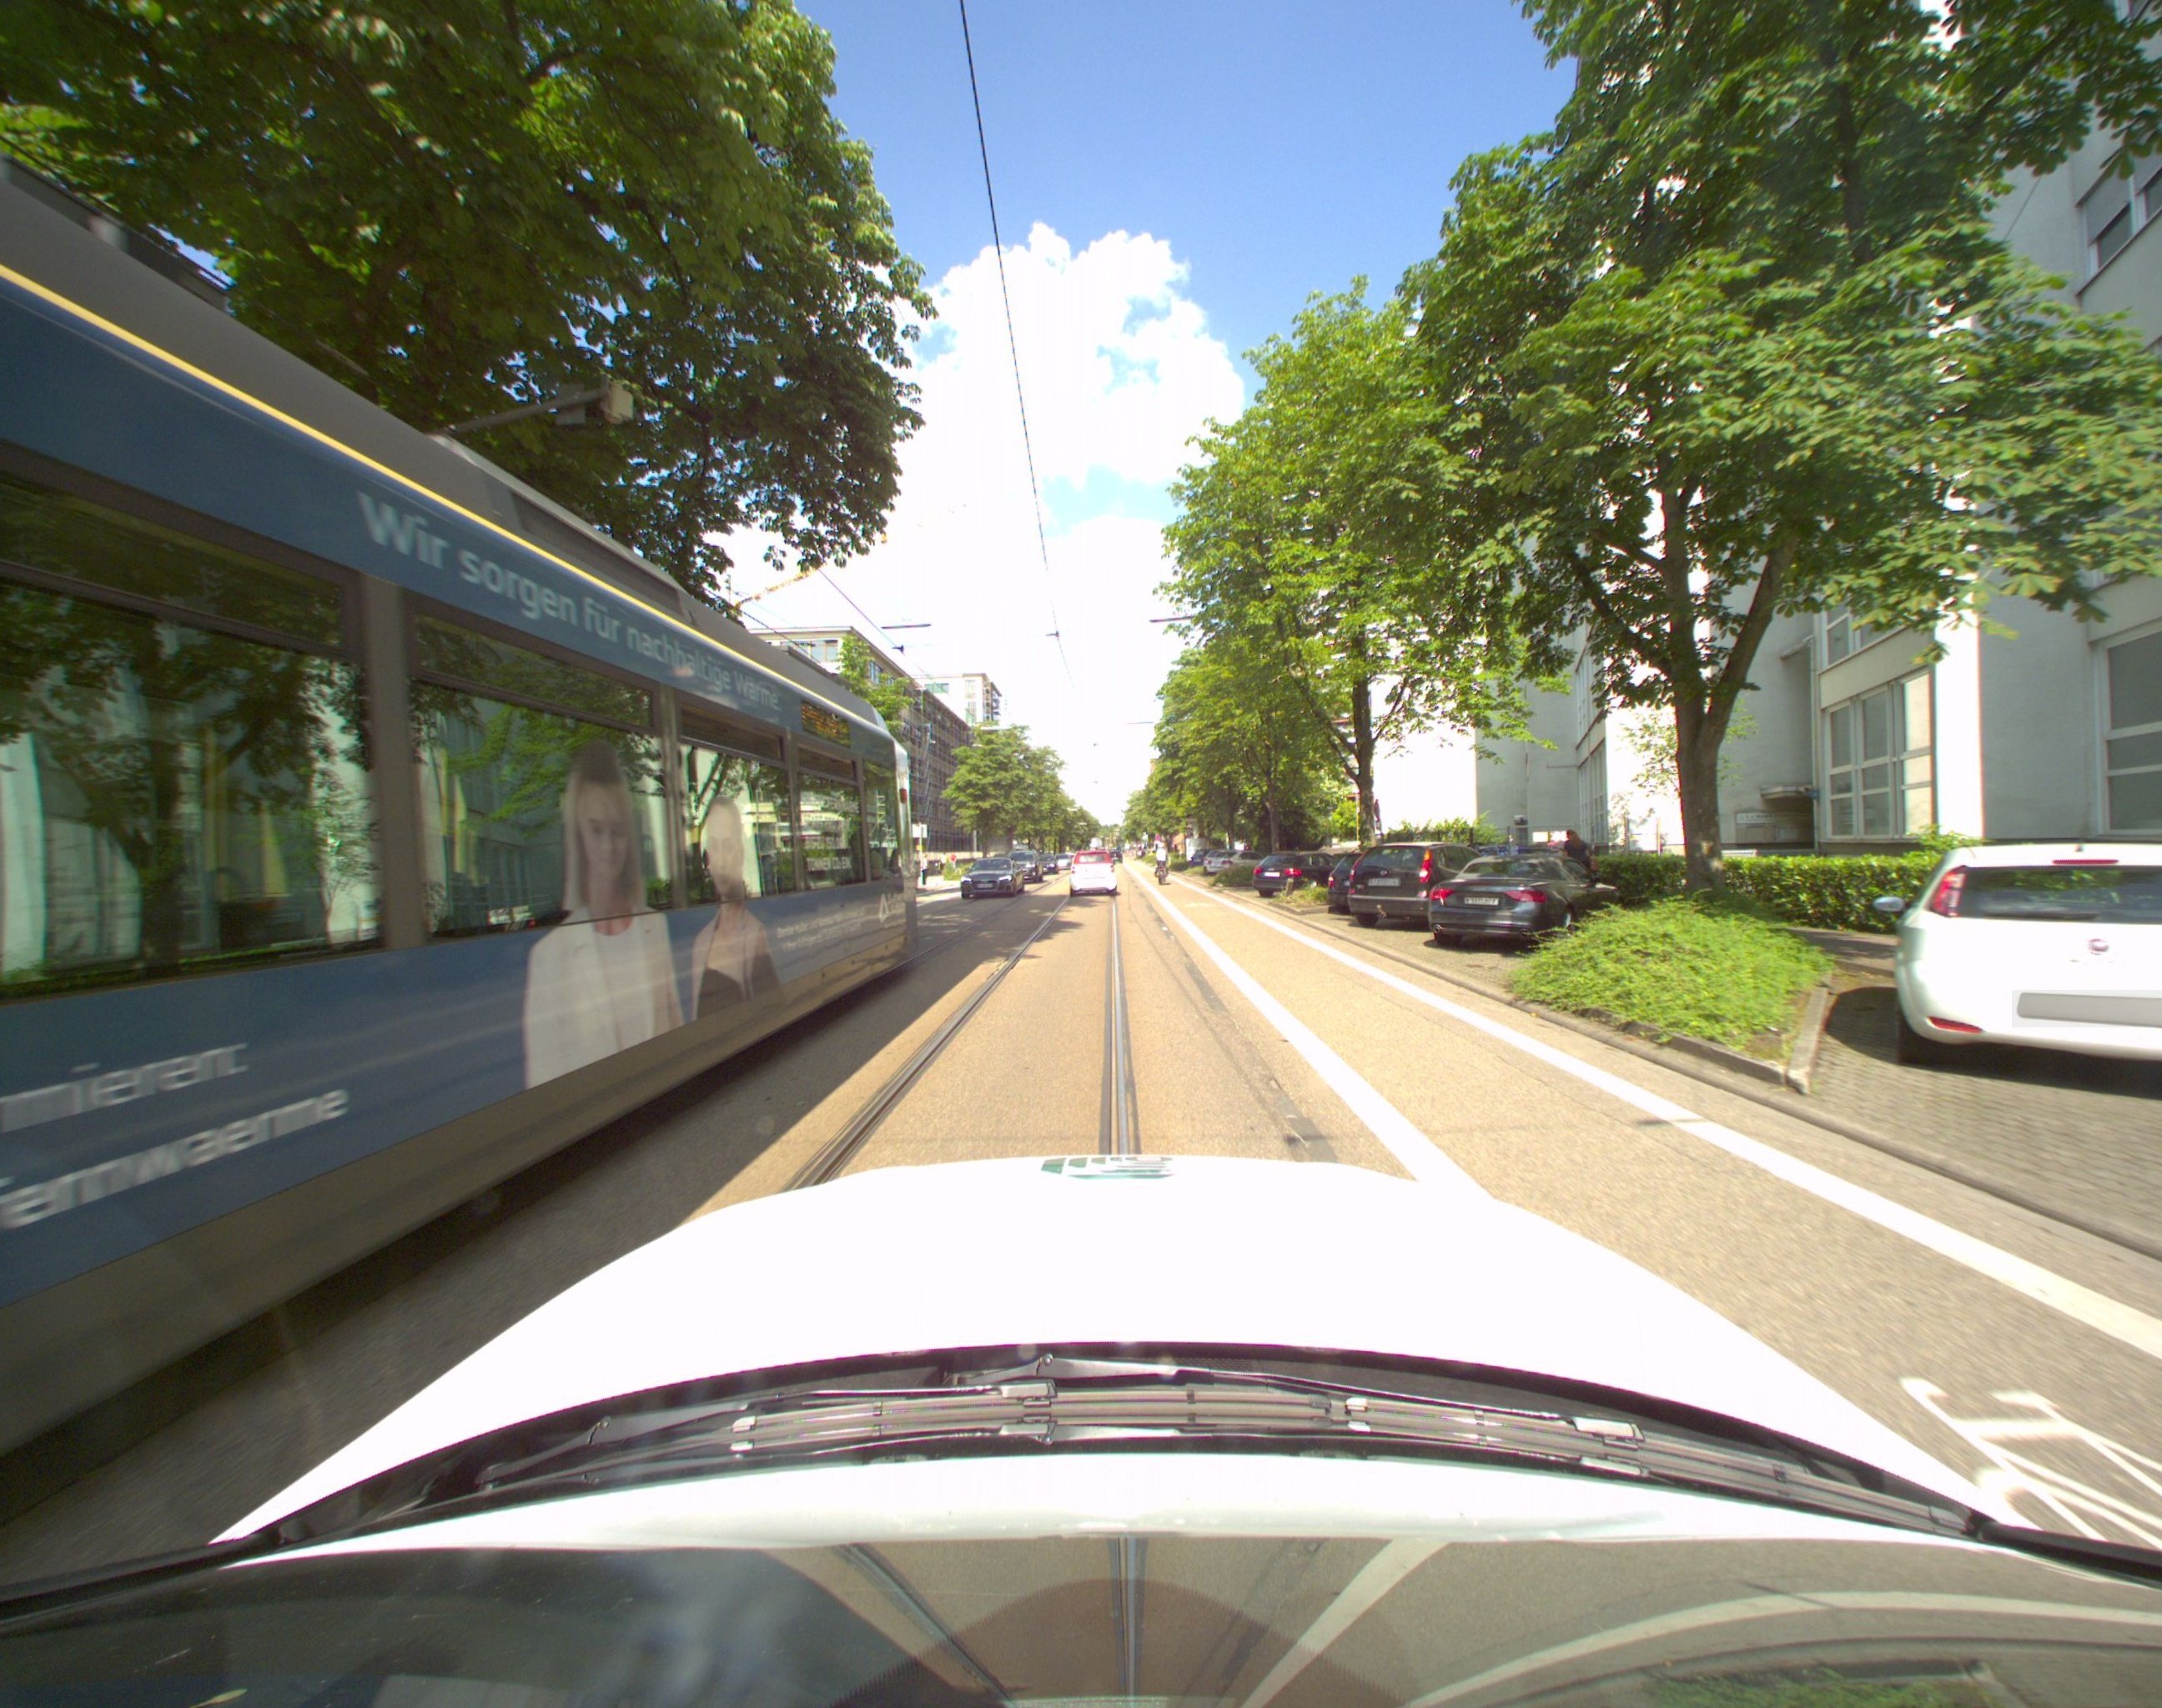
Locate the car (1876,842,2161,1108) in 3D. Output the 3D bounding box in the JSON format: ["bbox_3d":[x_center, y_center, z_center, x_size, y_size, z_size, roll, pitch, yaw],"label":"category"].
[{"bbox_3d":[7.147,0.654,6.132,4.023,1.461,1.517,-1,0,-44],"label":"car"}]

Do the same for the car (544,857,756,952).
[{"bbox_3d":[-8.580,0.910,16.790,1.744,1.665,4.721,0,0,1],"label":"car"}]

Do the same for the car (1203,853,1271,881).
[{"bbox_3d":[8.706,0.708,45.386,3.824,1.474,1.634,0,1,-40],"label":"car"}]

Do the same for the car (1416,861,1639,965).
[{"bbox_3d":[7.149,0.799,12.851,4.199,1.349,1.882,0,0,-43],"label":"car"}]

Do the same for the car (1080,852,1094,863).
[{"bbox_3d":[0.917,0.459,117.648,1.793,1.508,4.539,-1,0,2],"label":"car"}]

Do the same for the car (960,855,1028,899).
[{"bbox_3d":[-3.002,0.753,28.972,1.792,1.388,4.428,-2,0,2],"label":"car"}]

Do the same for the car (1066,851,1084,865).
[{"bbox_3d":[-0.593,0.444,86.749,1.680,1.405,4.229,-1,0,2],"label":"car"}]

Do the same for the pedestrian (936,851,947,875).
[{"bbox_3d":[-10.224,0.663,59.702,0.706,1.793,0.661,0,-1,-4],"label":"pedestrian"}]

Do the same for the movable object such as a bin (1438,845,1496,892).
[{"bbox_3d":[12.825,0.480,27.144,1.270,1.539,1.470,0,-1,2],"label":"movable object such as a bin"}]

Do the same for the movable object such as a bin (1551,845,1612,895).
[{"bbox_3d":[15.331,0.476,24.976,1.362,1.447,1.271,-3,0,23],"label":"movable object such as a bin"}]

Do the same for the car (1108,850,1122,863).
[{"bbox_3d":[4.207,0.292,100.936,1.659,1.624,3.622,-1,0,2],"label":"car"}]

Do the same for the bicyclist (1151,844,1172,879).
[{"bbox_3d":[3.574,0.335,35.991,0.885,1.529,1.087,0,-1,8],"label":"bicyclist"}]

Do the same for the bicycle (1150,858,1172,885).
[{"bbox_3d":[3.530,0.764,35.766,0.870,1.126,2.141,0,0,8],"label":"bicycle"}]

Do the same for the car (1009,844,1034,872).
[{"bbox_3d":[-5.778,0.435,79.629,1.762,2.639,5.324,0,0,2],"label":"car"}]

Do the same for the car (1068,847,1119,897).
[{"bbox_3d":[0.467,0.578,28.441,1.659,1.624,3.622,-1,0,2],"label":"car"}]

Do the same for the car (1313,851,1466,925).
[{"bbox_3d":[7.320,0.714,19.162,4.098,1.443,1.705,-2,2,-43],"label":"car"}]

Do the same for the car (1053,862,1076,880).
[{"bbox_3d":[-1.462,1.493,71.653,1.767,1.416,3.853,-3,-1,1],"label":"car"}]

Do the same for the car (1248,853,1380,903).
[{"bbox_3d":[7.433,0.724,25.736,4.561,1.442,2.007,1,-1,-44],"label":"car"}]

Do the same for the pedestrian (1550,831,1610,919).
[{"bbox_3d":[10.961,0.459,17.908,0.756,1.873,1.004,-1,0,7],"label":"pedestrian"}]

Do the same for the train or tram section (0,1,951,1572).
[{"bbox_3d":[-3.511,-0.116,4.340,2.642,3.356,14.115,-3,-1,2],"label":"train or tram section"}]

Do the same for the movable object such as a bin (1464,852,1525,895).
[{"bbox_3d":[12.892,0.601,25.459,1.270,1.318,1.326,0,-1,2],"label":"movable object such as a bin"}]

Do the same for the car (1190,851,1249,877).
[{"bbox_3d":[8.889,0.635,52.102,4.023,1.486,1.596,-2,0,-44],"label":"car"}]

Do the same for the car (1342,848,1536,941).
[{"bbox_3d":[7.009,0.695,15.794,4.020,1.575,1.883,0,0,-40],"label":"car"}]

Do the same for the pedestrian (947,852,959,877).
[{"bbox_3d":[-9.384,0.767,59.704,0.706,1.831,0.661,2,1,-4],"label":"pedestrian"}]

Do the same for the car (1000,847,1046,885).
[{"bbox_3d":[-2.817,0.578,40.336,1.819,1.727,4.392,1,0,1],"label":"car"}]

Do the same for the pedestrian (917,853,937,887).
[{"bbox_3d":[-7.485,0.787,39.563,0.730,1.637,0.685,1,-1,-32],"label":"pedestrian"}]

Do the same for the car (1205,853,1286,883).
[{"bbox_3d":[8.590,0.701,42.275,4.262,1.420,1.705,-1,1,-36],"label":"car"}]

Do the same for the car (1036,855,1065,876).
[{"bbox_3d":[-2.068,0.784,56.280,1.717,1.376,4.001,-2,0,1],"label":"car"}]

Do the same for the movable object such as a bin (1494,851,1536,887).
[{"bbox_3d":[17.012,0.568,31.958,1.200,1.338,1.269,-3,0,17],"label":"movable object such as a bin"}]
